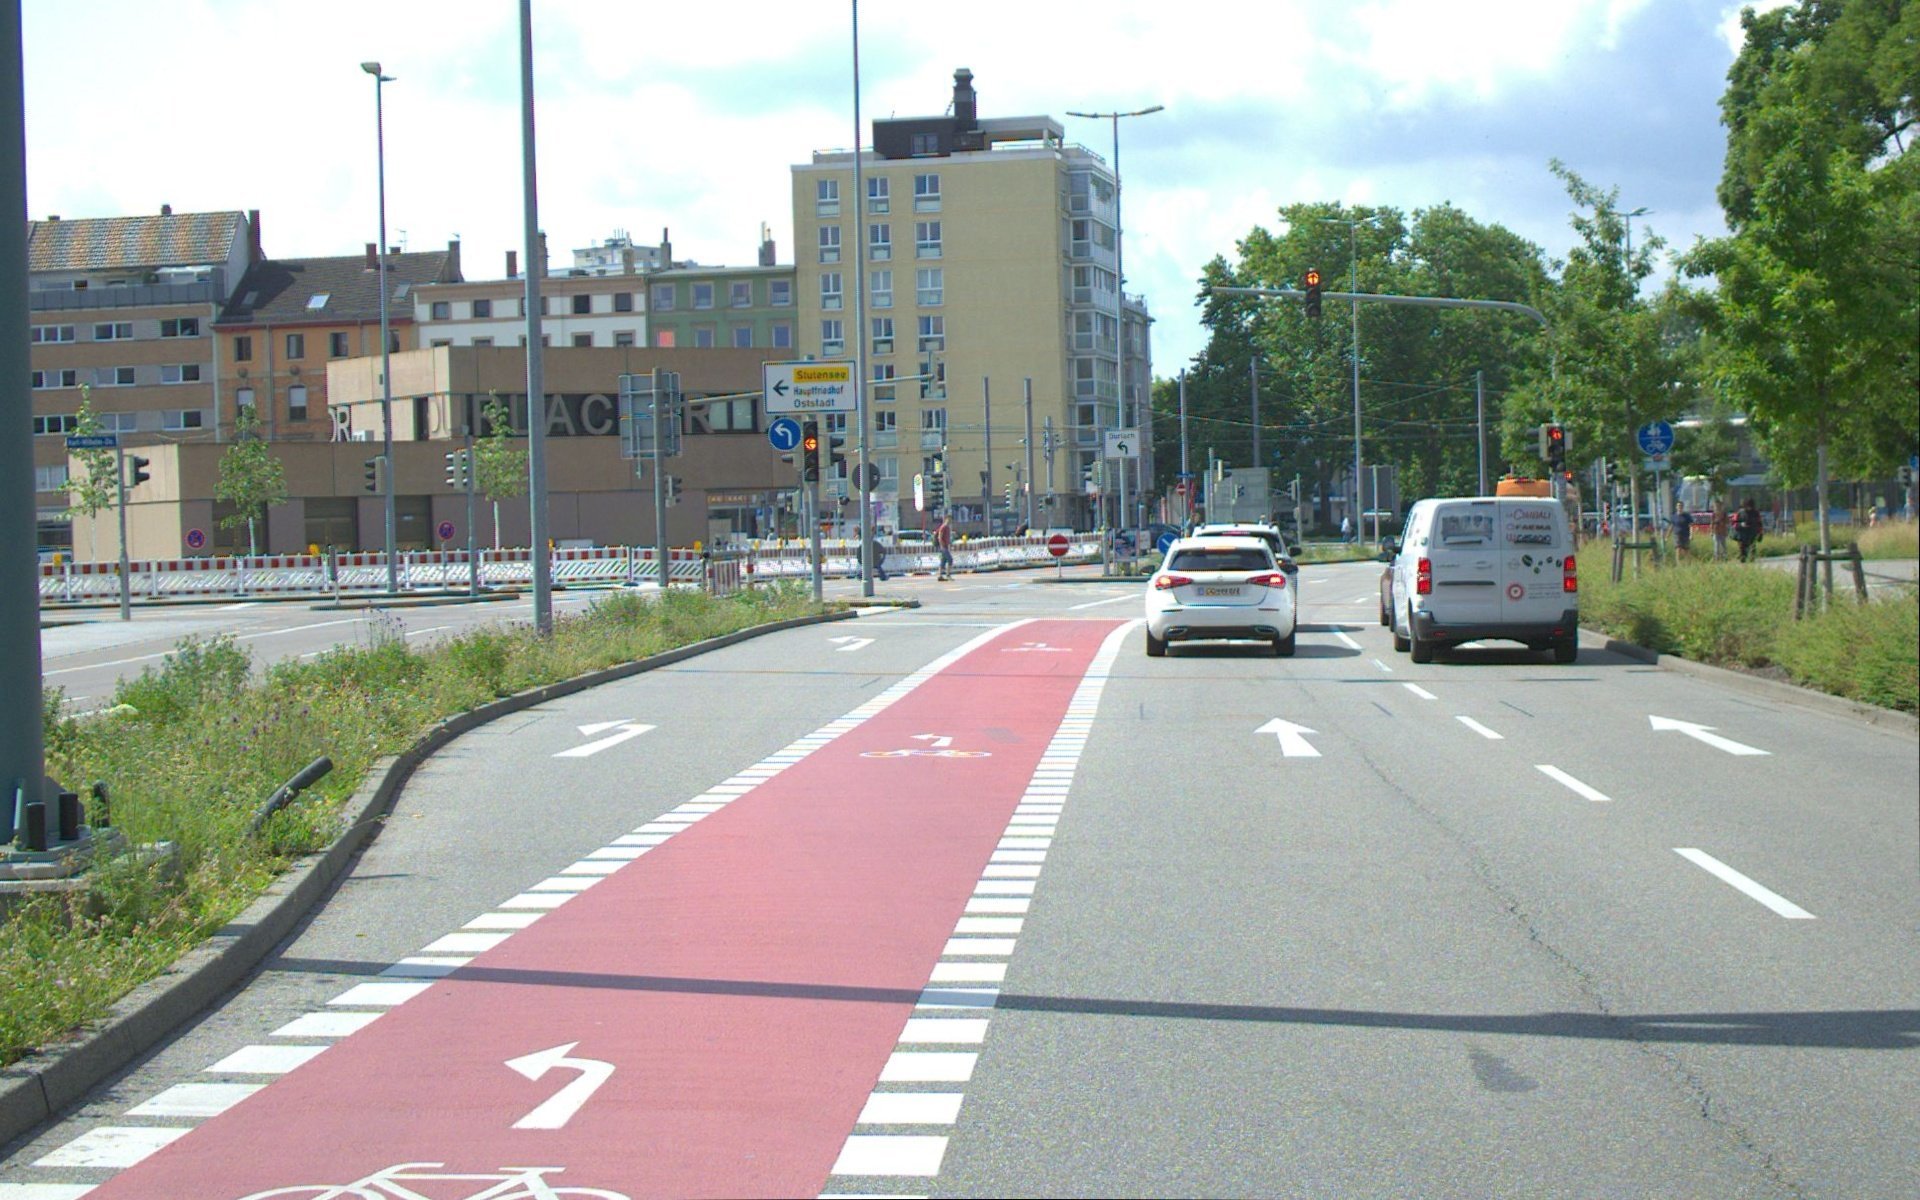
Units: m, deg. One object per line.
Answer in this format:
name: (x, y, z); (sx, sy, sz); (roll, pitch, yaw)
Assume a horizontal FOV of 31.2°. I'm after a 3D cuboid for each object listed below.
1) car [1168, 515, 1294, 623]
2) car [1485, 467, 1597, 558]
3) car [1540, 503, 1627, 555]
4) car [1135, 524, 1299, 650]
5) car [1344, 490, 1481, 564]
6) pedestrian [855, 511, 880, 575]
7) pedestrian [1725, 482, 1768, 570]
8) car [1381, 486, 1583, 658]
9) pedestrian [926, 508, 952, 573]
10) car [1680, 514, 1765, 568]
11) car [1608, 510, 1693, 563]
car: (4.024, -0.495, 51.257); (1.791, 1.534, 4.011); (0, 1, 4)
car: (18.509, -2.791, 109.380); (2.133, 2.771, 4.632); (-2, 1, 28)
car: (23.267, -2.670, 128.187); (1.997, 1.820, 3.994); (-1, 1, 29)
car: (3.193, -0.195, 42.746); (1.904, 1.419, 4.384); (-1, 1, 4)
car: (11.813, -1.893, 89.583); (1.997, 1.809, 3.993); (2, 1, 32)
pedestrian: (-2.536, -1.566, 94.316); (0.525, 1.727, 0.623); (-1, 1, 13)
pedestrian: (15.757, -1.487, 68.864); (0.742, 1.729, 0.678); (-1, 1, 7)
car: (6.086, -0.375, 40.534); (1.942, 1.863, 4.825); (-1, 1, 4)
pedestrian: (-0.562, -1.608, 92.867); (0.525, 1.727, 0.623); (-1, 1, 13)
car: (29.337, -2.283, 132.167); (1.994, 1.932, 4.632); (-2, 1, 28)
car: (27.072, -2.506, 134.660); (1.994, 1.932, 4.632); (-2, 1, 28)
